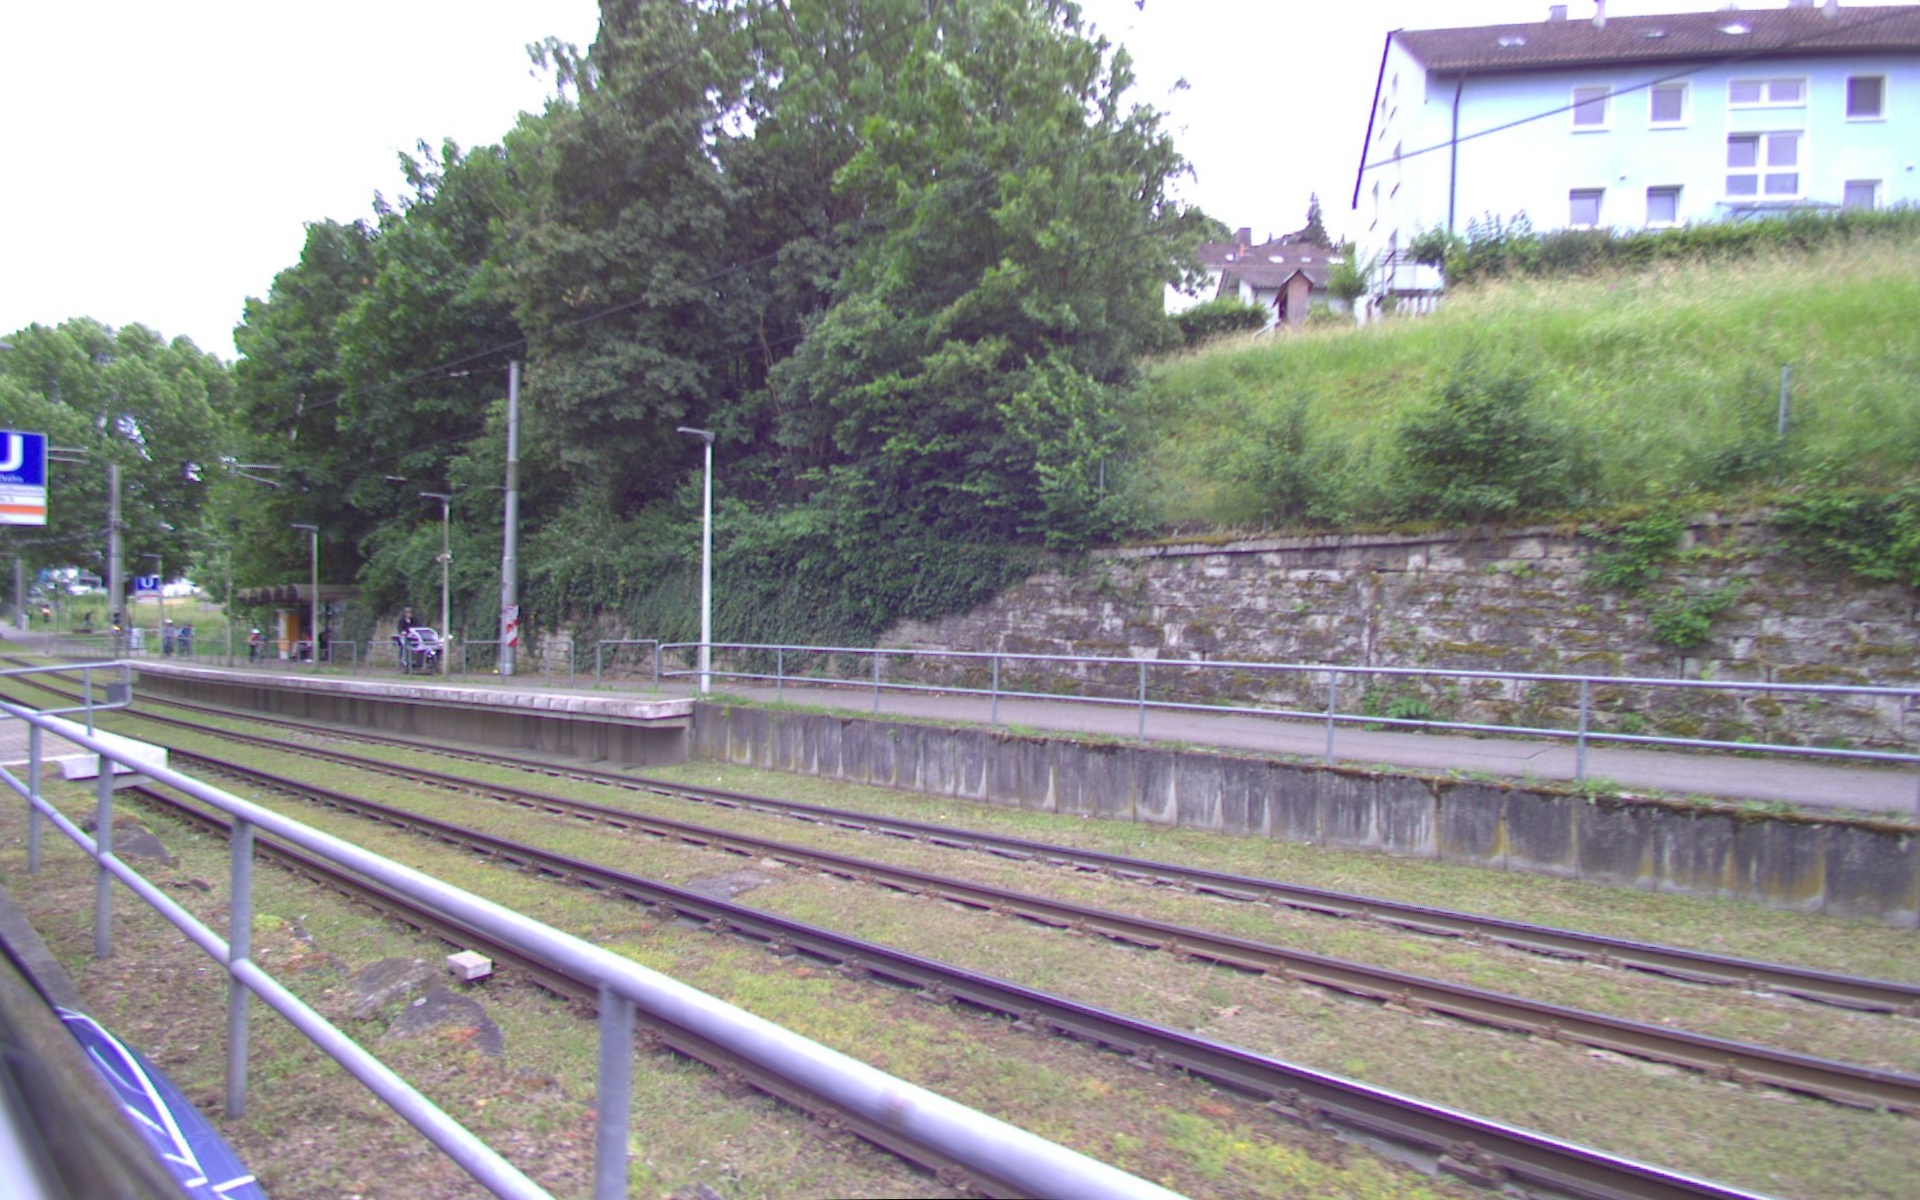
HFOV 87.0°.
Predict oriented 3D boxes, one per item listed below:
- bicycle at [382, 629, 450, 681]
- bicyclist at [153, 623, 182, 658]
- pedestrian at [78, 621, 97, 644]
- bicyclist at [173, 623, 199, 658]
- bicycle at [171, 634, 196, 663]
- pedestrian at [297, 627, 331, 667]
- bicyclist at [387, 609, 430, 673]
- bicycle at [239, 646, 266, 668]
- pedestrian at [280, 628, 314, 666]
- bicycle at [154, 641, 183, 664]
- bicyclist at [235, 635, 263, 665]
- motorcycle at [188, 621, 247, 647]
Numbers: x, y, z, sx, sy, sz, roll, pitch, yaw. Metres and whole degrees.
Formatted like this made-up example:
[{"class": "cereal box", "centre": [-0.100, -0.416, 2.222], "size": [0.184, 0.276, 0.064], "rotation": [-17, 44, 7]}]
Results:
[{"class": "bicycle", "centre": [-14.242, 1.417, 26.441], "size": [2.868, 1.249, 0.742], "rotation": [-2, 0, 45]}, {"class": "bicyclist", "centre": [-33.946, 1.751, 43.331], "size": [0.906, 1.442, 0.738], "rotation": [-3, -1, 35]}, {"class": "pedestrian", "centre": [-67.709, 2.486, 78.521], "size": [1.100, 1.747, 0.695], "rotation": [-1, 1, -39]}, {"class": "bicyclist", "centre": [-33.919, 1.776, 44.354], "size": [0.839, 1.454, 0.722], "rotation": [-3, -1, 39]}, {"class": "bicycle", "centre": [-33.897, 2.113, 44.182], "size": [1.939, 1.197, 0.458], "rotation": [-3, -1, 41]}, {"class": "pedestrian", "centre": [-23.680, 1.710, 37.095], "size": [0.772, 1.385, 0.813], "rotation": [0, 1, 35]}, {"class": "bicyclist", "centre": [-14.622, 1.070, 26.827], "size": [1.033, 1.641, 0.696], "rotation": [-2, 0, 44]}, {"class": "bicycle", "centre": [-26.135, 2.107, 37.379], "size": [1.564, 0.787, 0.445], "rotation": [-2, -1, 41]}, {"class": "pedestrian", "centre": [-24.703, 1.739, 37.714], "size": [0.772, 1.333, 0.813], "rotation": [0, 1, 35]}, {"class": "bicycle", "centre": [-33.943, 2.241, 43.394], "size": [1.840, 0.932, 0.473], "rotation": [-3, -1, 36]}, {"class": "bicyclist", "centre": [-26.251, 1.836, 37.378], "size": [0.744, 1.061, 0.682], "rotation": [-2, -1, 41]}, {"class": "motorcycle", "centre": [-48.931, 2.227, 66.714], "size": [1.247, 1.563, 3.047], "rotation": [0, 1, 13]}]
